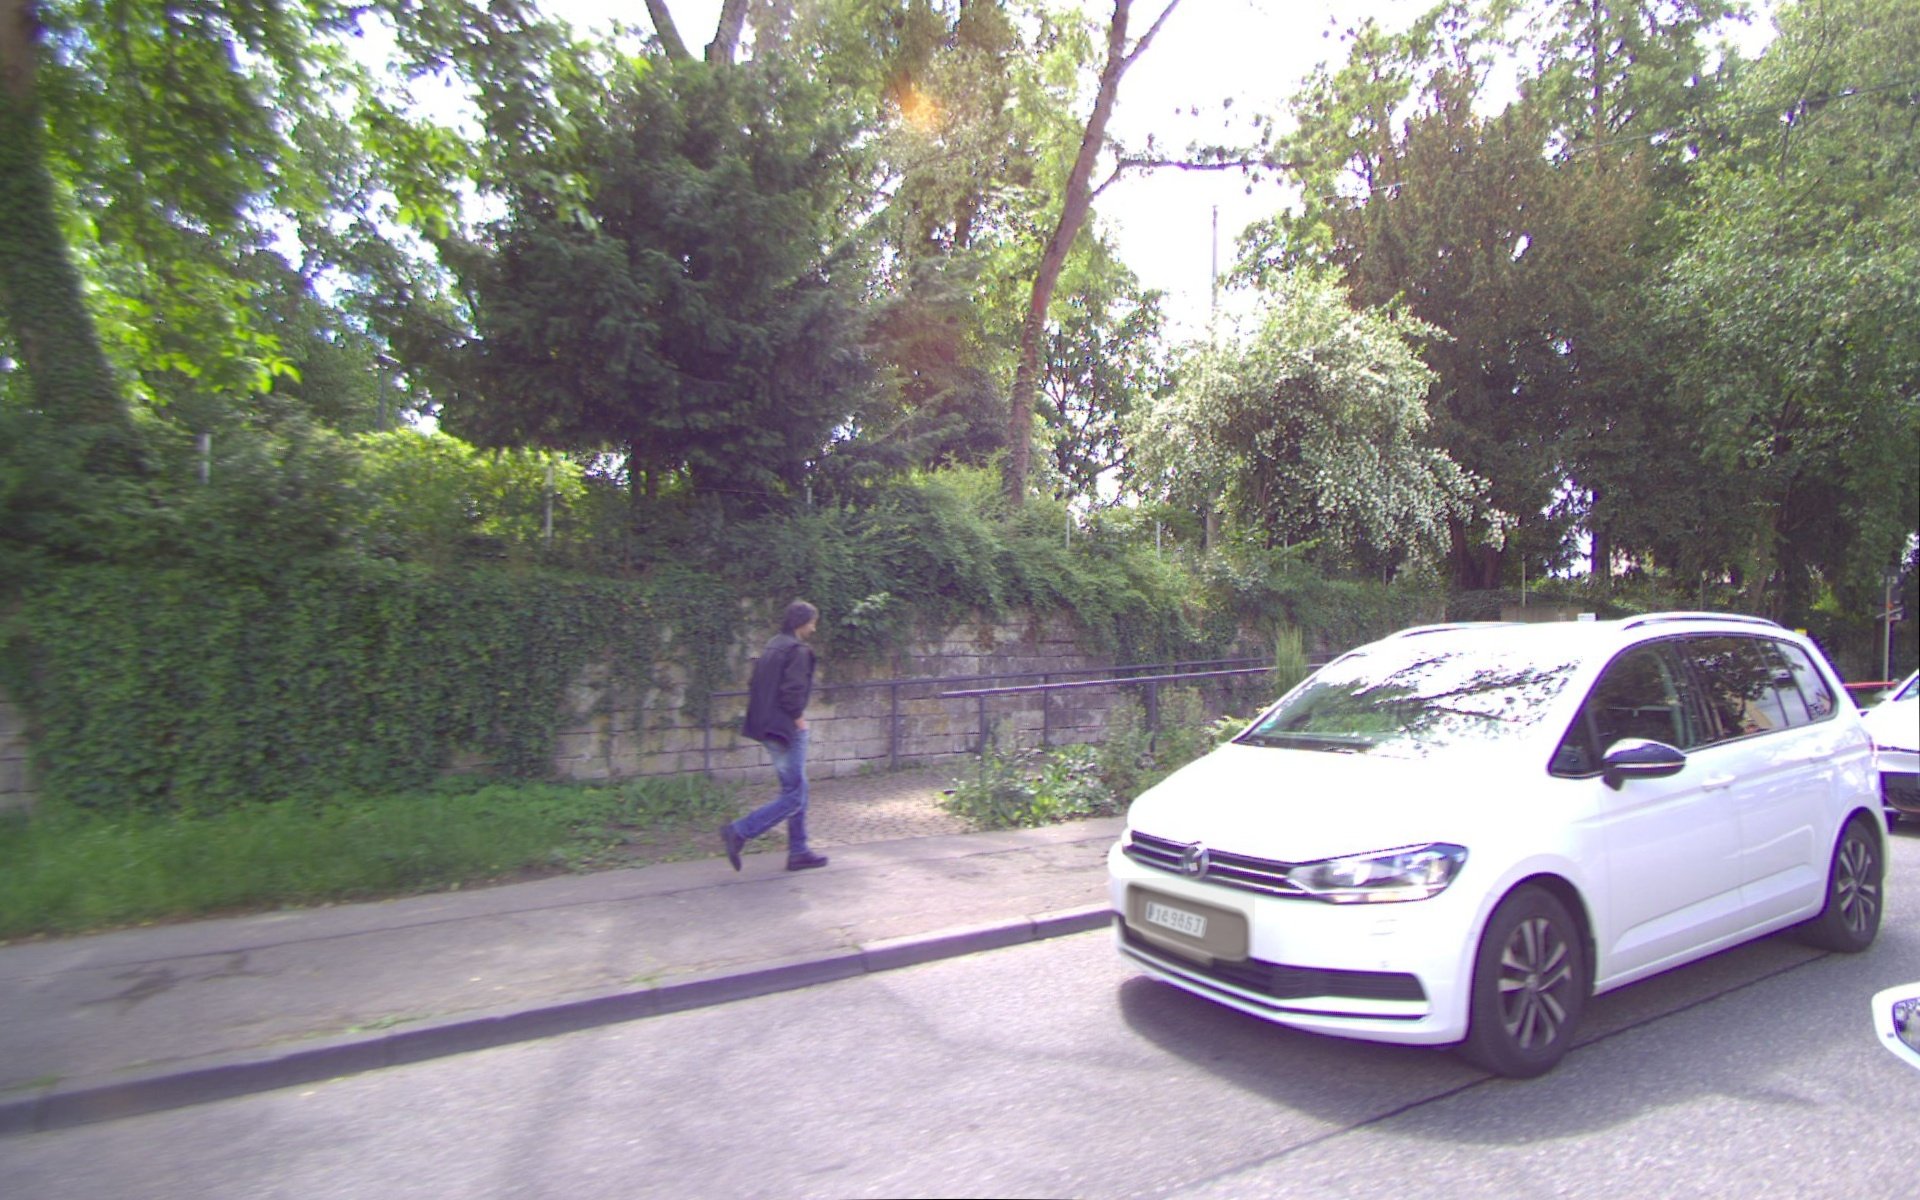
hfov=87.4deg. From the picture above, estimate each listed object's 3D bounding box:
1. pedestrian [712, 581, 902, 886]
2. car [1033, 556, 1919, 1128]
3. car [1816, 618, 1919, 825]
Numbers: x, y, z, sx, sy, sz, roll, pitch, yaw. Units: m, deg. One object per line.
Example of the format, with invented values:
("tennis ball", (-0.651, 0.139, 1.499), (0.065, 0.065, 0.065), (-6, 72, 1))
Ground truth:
("pedestrian", (-0.930, 0.755, 6.112), (0.923, 1.688, 0.648), (2, -2, -36))
("car", (2.690, 0.788, 4.862), (4.438, 1.669, 1.778), (1, -4, -30))
("car", (9.391, 0.968, 8.657), (4.105, 1.612, 1.777), (1, -3, -30))
